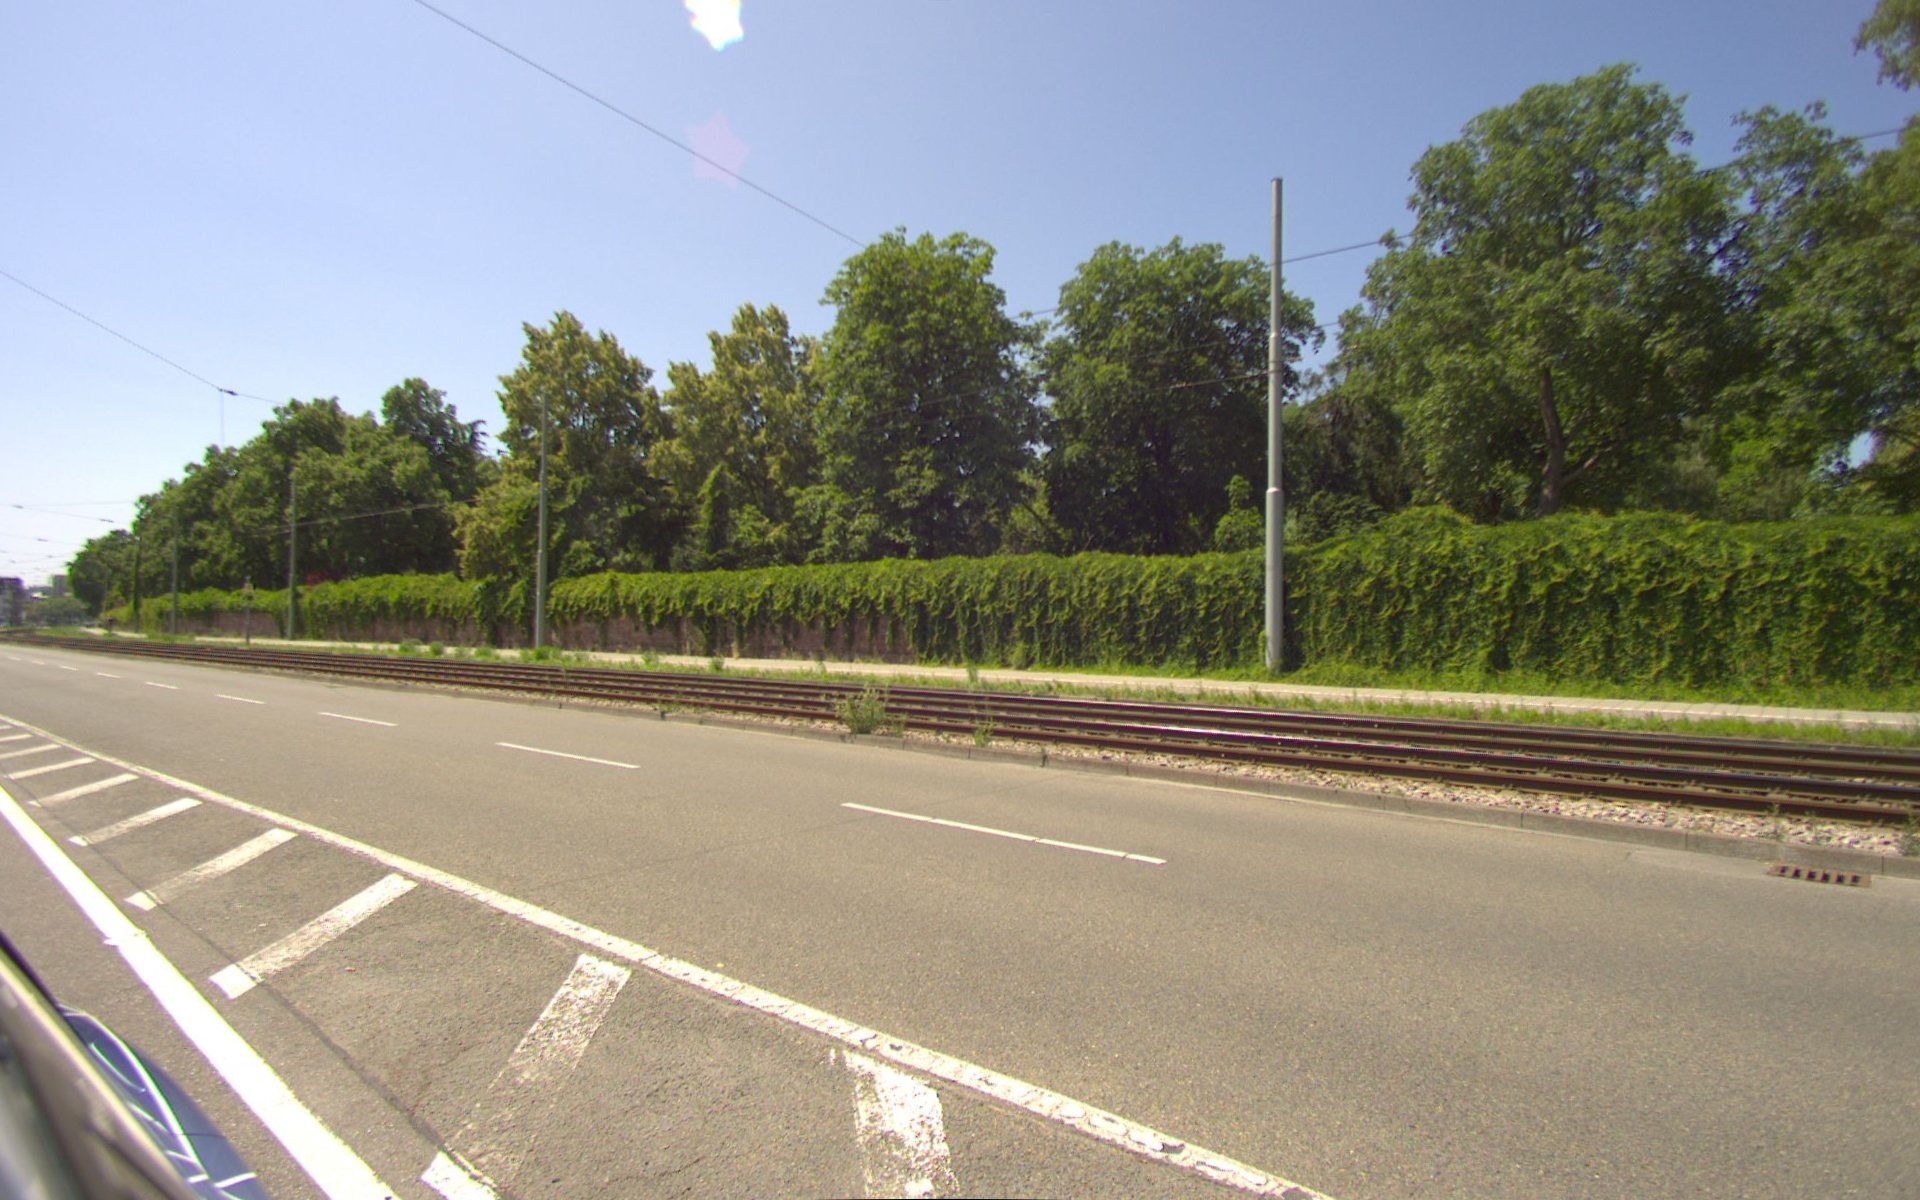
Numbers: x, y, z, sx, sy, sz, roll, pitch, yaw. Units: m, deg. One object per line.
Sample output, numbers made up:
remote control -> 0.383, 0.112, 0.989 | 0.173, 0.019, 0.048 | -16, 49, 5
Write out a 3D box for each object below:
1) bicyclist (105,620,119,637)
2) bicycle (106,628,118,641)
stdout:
bicyclist -> -77.669, 2.609, 92.670 | 0.982, 1.497, 1.001 | 1, -2, -42
bicycle -> -77.537, 3.140, 92.537 | 0.818, 1.165, 2.689 | 1, -2, -41
